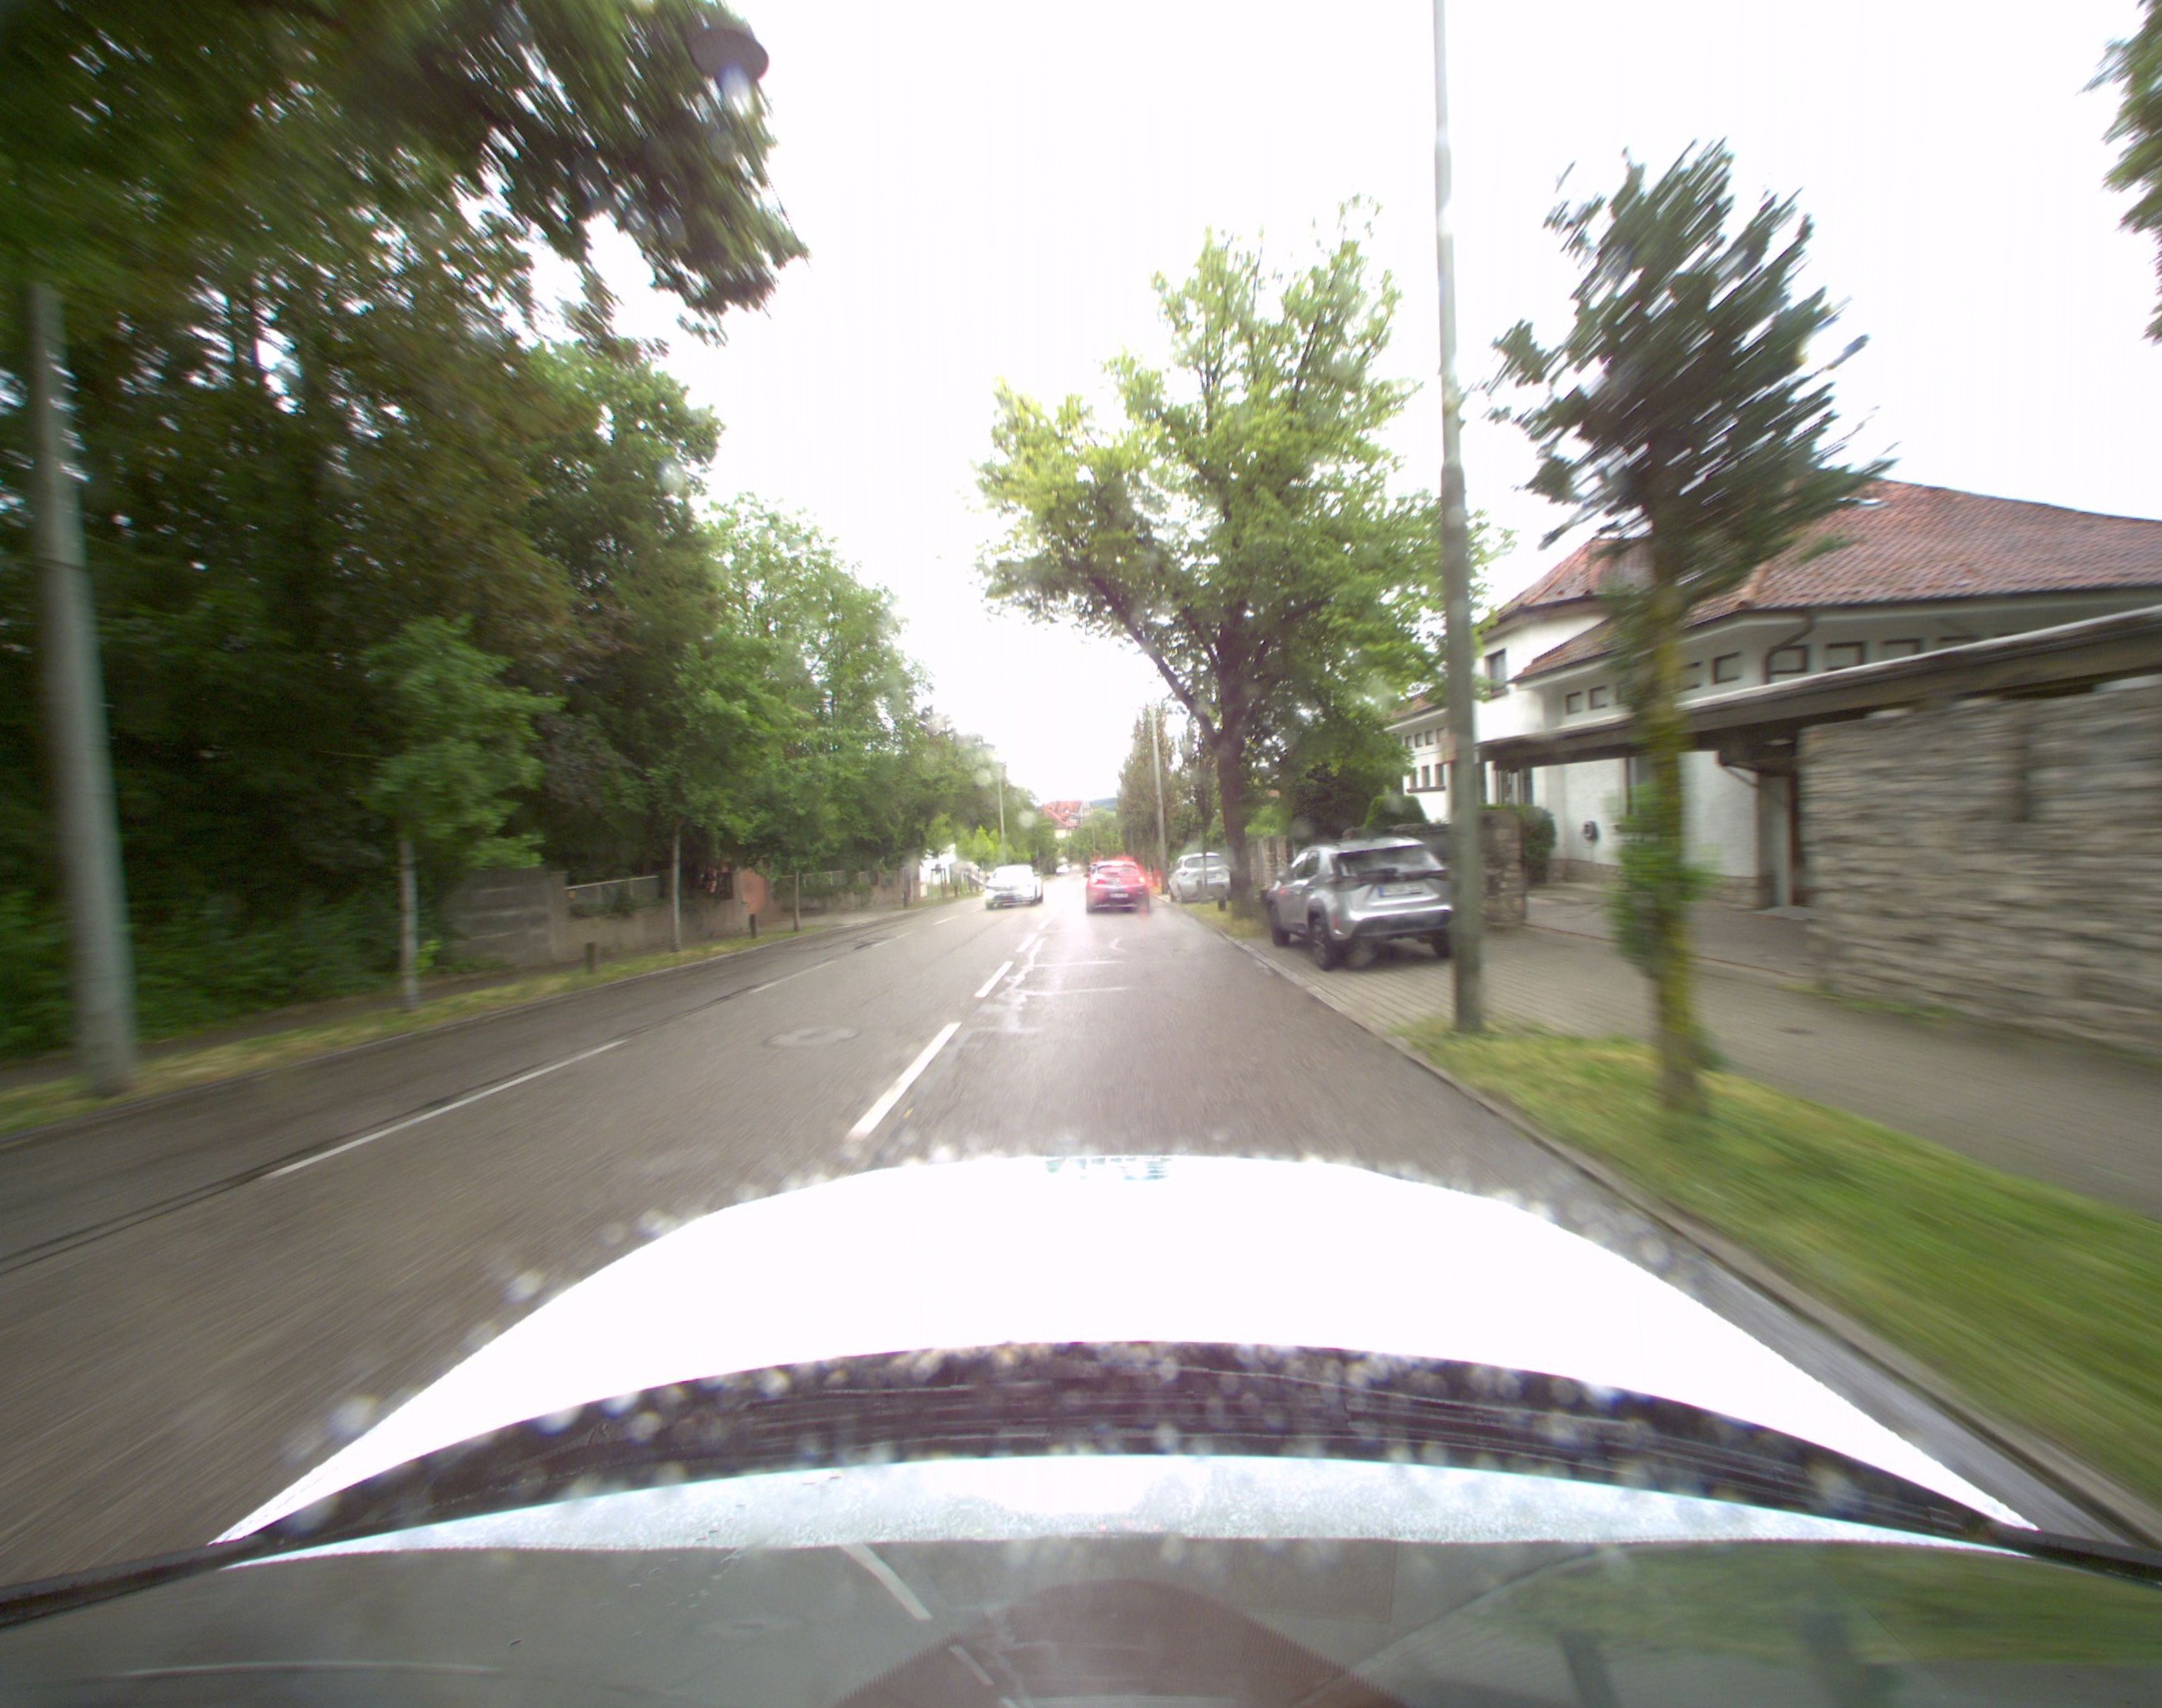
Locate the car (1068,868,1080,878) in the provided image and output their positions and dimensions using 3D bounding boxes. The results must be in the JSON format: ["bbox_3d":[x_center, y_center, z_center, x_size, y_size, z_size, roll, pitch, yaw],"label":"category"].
[{"bbox_3d":[-1.115,2.996,130.342,1.738,1.549,3.921,0,-1,3],"label":"car"}]

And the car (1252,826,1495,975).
[{"bbox_3d":[3.803,0.515,11.470,1.911,1.567,4.222,-5,0,2],"label":"car"}]

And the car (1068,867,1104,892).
[{"bbox_3d":[0.327,1.431,46.111,1.790,1.323,4.003,-2,-1,3],"label":"car"}]

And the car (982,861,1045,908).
[{"bbox_3d":[-2.387,1.099,29.750,1.787,1.509,4.094,-2,-2,2],"label":"car"}]

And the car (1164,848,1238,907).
[{"bbox_3d":[3.856,0.724,26.779,1.818,1.629,4.001,-5,0,2],"label":"car"}]

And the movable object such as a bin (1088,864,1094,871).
[{"bbox_3d":[2.093,2.855,168.618,1.265,1.387,0.490,-1,-1,6],"label":"movable object such as a bin"}]

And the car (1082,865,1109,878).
[{"bbox_3d":[2.058,2.441,115.902,2.008,1.684,3.958,0,0,-34],"label":"car"}]

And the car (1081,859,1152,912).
[{"bbox_3d":[1.043,0.930,24.508,1.938,1.432,3.885,-1,-2,2],"label":"car"}]
